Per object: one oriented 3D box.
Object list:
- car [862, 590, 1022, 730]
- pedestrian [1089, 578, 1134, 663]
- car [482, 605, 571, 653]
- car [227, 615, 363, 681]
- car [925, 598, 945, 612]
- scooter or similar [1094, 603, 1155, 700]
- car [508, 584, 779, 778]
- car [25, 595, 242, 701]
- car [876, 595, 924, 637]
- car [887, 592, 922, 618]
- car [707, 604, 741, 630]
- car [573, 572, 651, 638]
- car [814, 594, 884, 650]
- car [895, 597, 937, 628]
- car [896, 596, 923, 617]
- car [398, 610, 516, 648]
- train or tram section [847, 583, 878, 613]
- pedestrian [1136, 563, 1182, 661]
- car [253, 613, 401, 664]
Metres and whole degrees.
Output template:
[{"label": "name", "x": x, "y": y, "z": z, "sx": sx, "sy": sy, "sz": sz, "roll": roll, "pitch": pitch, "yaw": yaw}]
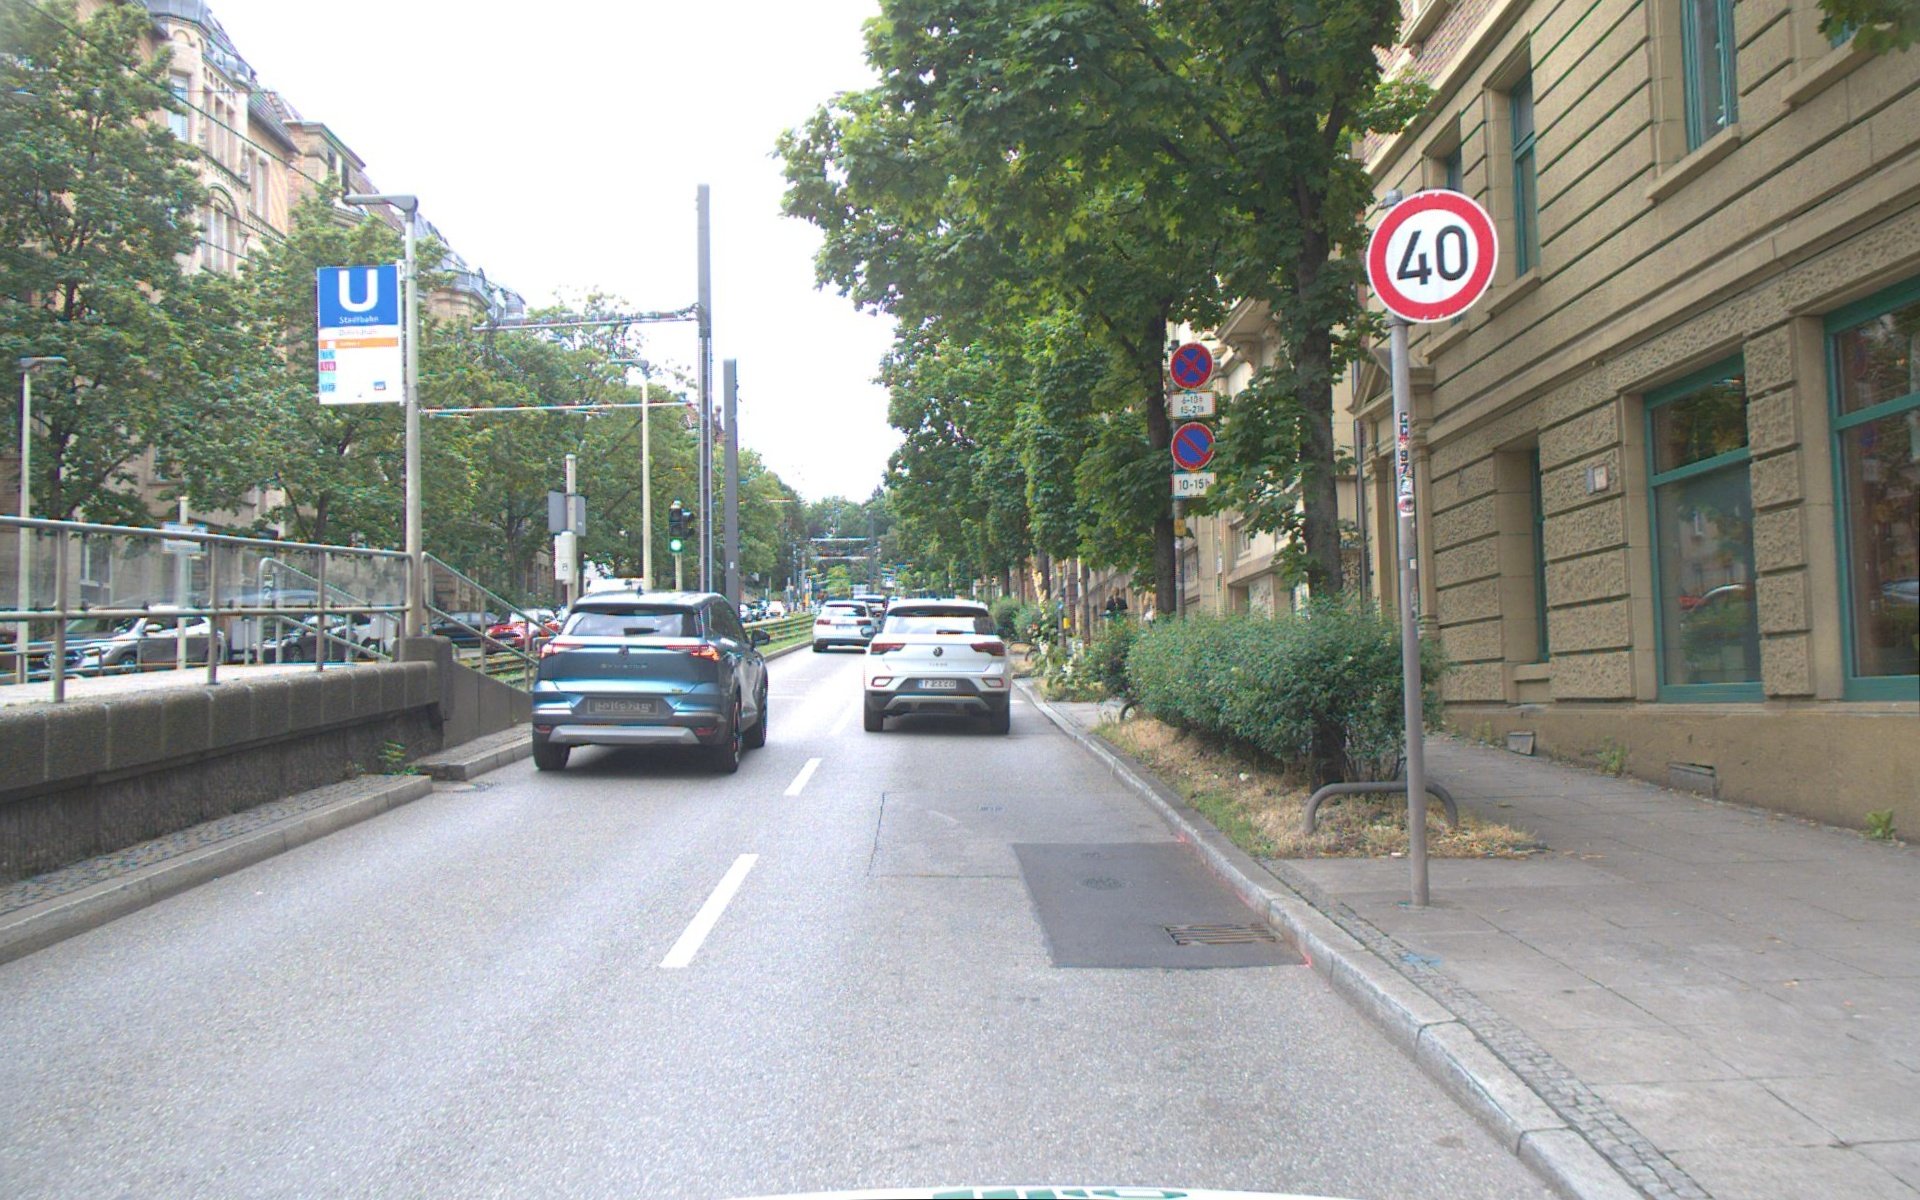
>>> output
[{"label": "car", "x": -0.270, "y": 0.692, "z": 20.866, "sx": 1.799, "sy": 1.573, "sz": 4.191, "roll": 1, "pitch": 0, "yaw": -2}, {"label": "pedestrian", "x": 2.962, "y": 0.393, "z": 32.430, "sx": 0.672, "sy": 1.601, "sz": 1.216, "roll": -2, "pitch": 0, "yaw": -1}, {"label": "car", "x": -13.416, "y": 0.872, "z": 51.376, "sx": 1.543, "sy": 1.401, "sz": 3.657, "roll": -1, "pitch": 0, "yaw": 4}, {"label": "car", "x": -16.430, "y": 1.147, "z": 41.090, "sx": 1.644, "sy": 1.473, "sz": 4.217, "roll": -2, "pitch": 0, "yaw": 0}, {"label": "car", "x": -2.967, "y": 0.568, "z": 196.296, "sx": 2.028, "sy": 1.573, "sz": 4.189, "roll": 1, "pitch": 0, "yaw": -5}, {"label": "scooter or similar", "x": 2.352, "y": 0.726, "z": 23.777, "sx": 0.648, "sy": 1.327, "sz": 1.383, "roll": -3, "pitch": 0, "yaw": -1}, {"label": "car", "x": -2.823, "y": 0.680, "z": 15.679, "sx": 1.798, "sy": 1.573, "sz": 4.192, "roll": 1, "pitch": 0, "yaw": -1}, {"label": "car", "x": -15.013, "y": 0.810, "z": 30.338, "sx": 1.674, "sy": 1.766, "sz": 4.576, "roll": -1, "pitch": 0, "yaw": -1}, {"label": "car", "x": -2.359, "y": 0.624, "z": 65.751, "sx": 1.798, "sy": 1.573, "sz": 4.192, "roll": 1, "pitch": 0, "yaw": -1}, {"label": "car", "x": -3.436, "y": 0.299, "z": 102.412, "sx": 2.027, "sy": 1.573, "sz": 4.190, "roll": 1, "pitch": 0, "yaw": -4}, {"label": "car", "x": -16.101, "y": 1.166, "z": 112.930, "sx": 1.744, "sy": 1.645, "sz": 4.345, "roll": -2, "pitch": 0, "yaw": -1}, {"label": "car", "x": -15.610, "y": 0.224, "z": 74.517, "sx": 2.345, "sy": 2.746, "sz": 6.514, "roll": -3, "pitch": 0, "yaw": -3}, {"label": "car", "x": -3.212, "y": 0.626, "z": 48.571, "sx": 1.798, "sy": 1.573, "sz": 4.192, "roll": 1, "pitch": 0, "yaw": -1}, {"label": "car", "x": -2.327, "y": 0.658, "z": 86.646, "sx": 2.027, "sy": 1.573, "sz": 4.189, "roll": 1, "pitch": 0, "yaw": -4}, {"label": "car", "x": -3.958, "y": 0.532, "z": 129.642, "sx": 2.027, "sy": 1.573, "sz": 4.191, "roll": 1, "pitch": 0, "yaw": -2}, {"label": "car", "x": -19.555, "y": 1.104, "z": 64.380, "sx": 4.128, "sy": 1.388, "sz": 1.694, "roll": -1, "pitch": 0, "yaw": -31}, {"label": "train or tram section", "x": -11.599, "y": -0.183, "z": 198.176, "sx": 2.934, "sy": 3.407, "sz": 13.437, "roll": -1, "pitch": 0, "yaw": 0}, {"label": "pedestrian", "x": 3.890, "y": 0.244, "z": 32.447, "sx": 0.672, "sy": 1.861, "sz": 1.121, "roll": -2, "pitch": -1, "yaw": -1}, {"label": "car", "x": -19.260, "y": 1.141, "z": 50.329, "sx": 3.950, "sy": 1.447, "sz": 1.766, "roll": -1, "pitch": 0, "yaw": -33}]
